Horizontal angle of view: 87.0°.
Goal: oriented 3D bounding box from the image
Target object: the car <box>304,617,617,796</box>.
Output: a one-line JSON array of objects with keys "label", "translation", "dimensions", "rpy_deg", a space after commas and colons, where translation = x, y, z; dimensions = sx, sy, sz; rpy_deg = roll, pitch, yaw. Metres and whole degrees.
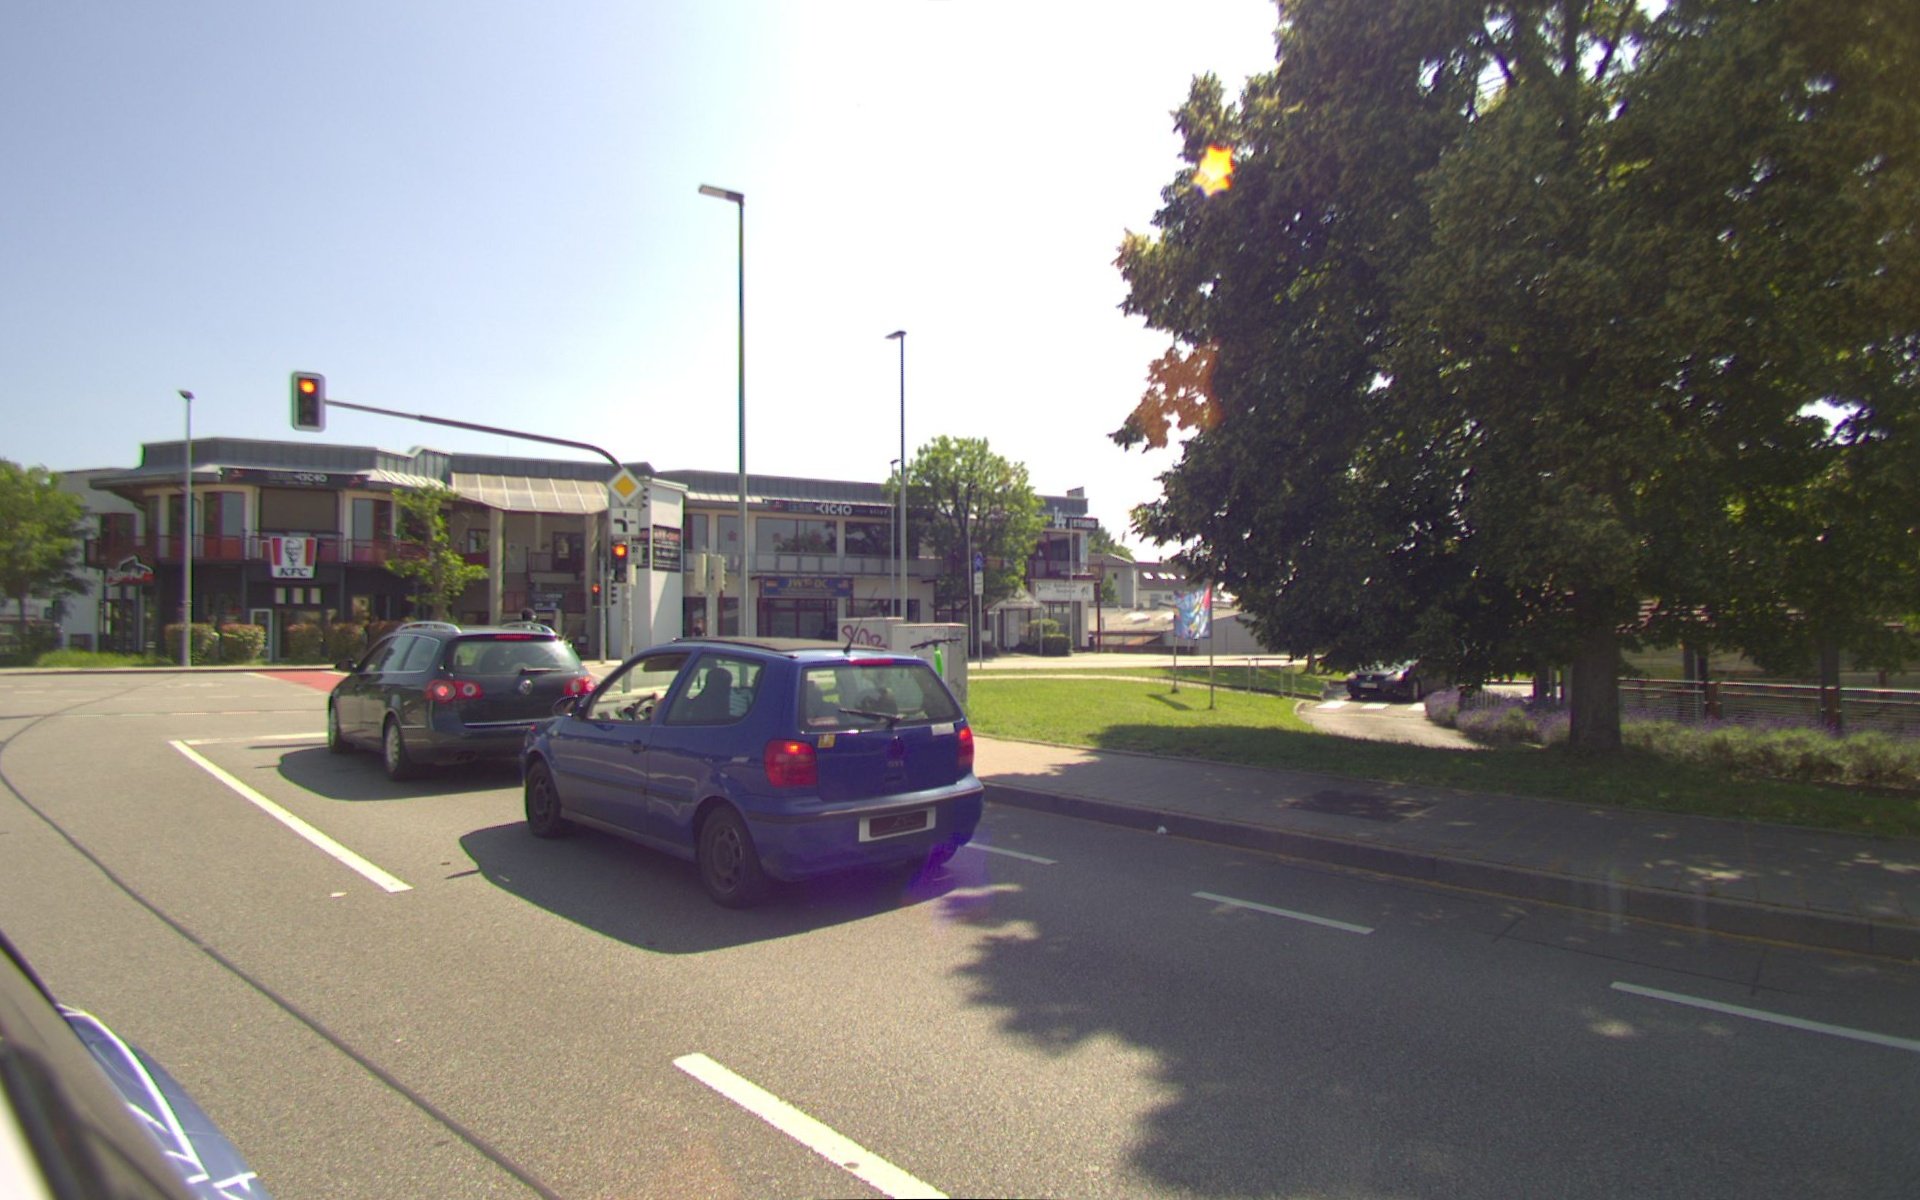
[{"label": "car", "translation": [-5.554, 0.984, 10.896], "dimensions": [1.758, 1.508, 4.727], "rpy_deg": [2, -3, -42]}]

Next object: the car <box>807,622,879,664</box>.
[{"label": "car", "translation": [-5.572, 2.014, 47.712], "dimensions": [1.777, 1.870, 4.673], "rpy_deg": [1, -2, -28]}]

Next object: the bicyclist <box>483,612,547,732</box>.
[{"label": "bicyclist", "translation": [-6.927, 1.103, 15.761], "dimensions": [0.701, 1.802, 0.810], "rpy_deg": [2, -3, -39]}]

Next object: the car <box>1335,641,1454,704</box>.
[{"label": "car", "translation": [11.873, 1.910, 27.513], "dimensions": [1.864, 1.564, 4.132], "rpy_deg": [-2, -3, 40]}]

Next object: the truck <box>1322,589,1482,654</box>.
[{"label": "truck", "translation": [24.623, 1.226, 56.278], "dimensions": [9.010, 3.412, 3.324], "rpy_deg": [1, -3, -29]}]

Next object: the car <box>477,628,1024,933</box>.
[{"label": "car", "translation": [-1.605, 0.896, 6.660], "dimensions": [1.636, 1.391, 4.003], "rpy_deg": [2, -3, -44]}]

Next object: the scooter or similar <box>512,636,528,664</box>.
[{"label": "scooter or similar", "translation": [-17.805, 2.007, 40.975], "dimensions": [0.492, 1.132, 1.509], "rpy_deg": [1, -2, -20]}]

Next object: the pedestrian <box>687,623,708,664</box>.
[{"label": "pedestrian", "translation": [-10.737, 1.788, 41.368], "dimensions": [0.722, 1.658, 0.843], "rpy_deg": [0, -2, -8]}]

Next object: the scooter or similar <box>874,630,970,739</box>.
[{"label": "scooter or similar", "translation": [-0.465, 0.955, 11.867], "dimensions": [0.465, 1.193, 1.369], "rpy_deg": [2, -3, -35]}]
